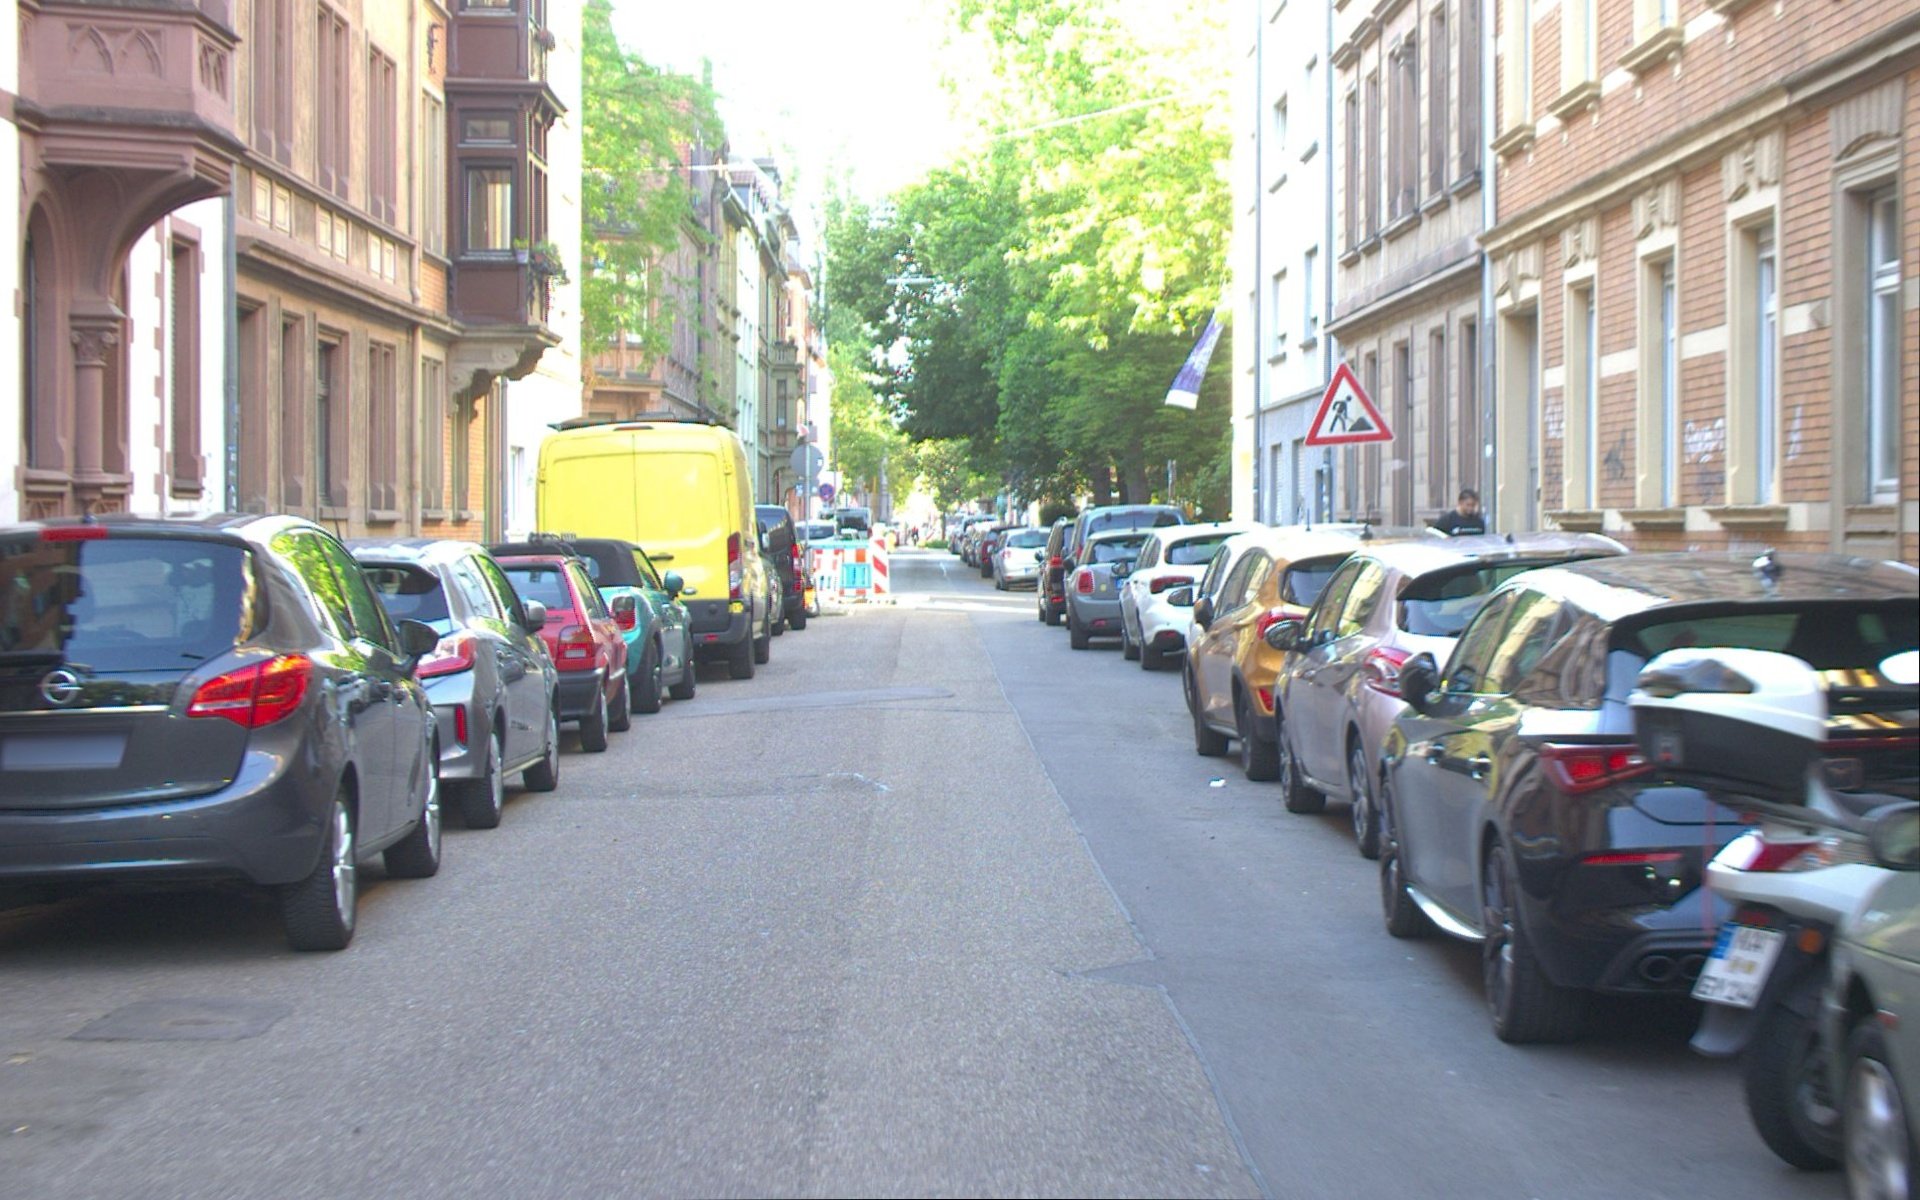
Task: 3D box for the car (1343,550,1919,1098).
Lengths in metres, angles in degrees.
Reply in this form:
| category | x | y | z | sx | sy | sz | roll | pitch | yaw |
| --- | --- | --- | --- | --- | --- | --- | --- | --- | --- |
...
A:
| category | x | y | z | sx | sy | sz | roll | pitch | yaw |
| --- | --- | --- | --- | --- | --- | --- | --- | --- | --- |
| car | 2.401 | 0.570 | 11.379 | 1.777 | 1.392 | 4.317 | 0 | 2 | 0 |

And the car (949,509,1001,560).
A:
| category | x | y | z | sx | sy | sz | roll | pitch | yaw |
| --- | --- | --- | --- | --- | --- | --- | --- | --- | --- |
| car | 0.656 | -2.956 | 154.825 | 2.160 | 2.248 | 4.526 | 0 | 1 | -2 |

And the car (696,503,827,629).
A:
| category | x | y | z | sx | sy | sz | roll | pitch | yaw |
| --- | --- | --- | --- | --- | --- | --- | --- | --- | --- |
| car | -2.908 | -0.528 | 50.382 | 1.818 | 1.760 | 4.336 | 0 | 1 | -3 |

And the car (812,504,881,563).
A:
| category | x | y | z | sx | sy | sz | roll | pitch | yaw |
| --- | --- | --- | --- | --- | --- | --- | --- | --- | --- |
| car | -4.188 | -2.461 | 127.264 | 2.309 | 2.107 | 5.170 | 0 | 1 | 1 |

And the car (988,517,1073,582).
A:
| category | x | y | z | sx | sy | sz | roll | pitch | yaw |
| --- | --- | --- | --- | --- | --- | --- | --- | --- | --- |
| car | 1.679 | -1.244 | 83.122 | 1.723 | 1.517 | 4.001 | -1 | 2 | -3 |

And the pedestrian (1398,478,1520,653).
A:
| category | x | y | z | sx | sy | sz | roll | pitch | yaw |
| --- | --- | --- | --- | --- | --- | --- | --- | --- | --- |
| pedestrian | 4.761 | -0.329 | 32.830 | 0.654 | 1.625 | 0.880 | -3 | 1 | -42 |

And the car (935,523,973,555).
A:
| category | x | y | z | sx | sy | sz | roll | pitch | yaw |
| --- | --- | --- | --- | --- | --- | --- | --- | --- | --- |
| car | -0.346 | -3.408 | 192.568 | 1.993 | 1.722 | 4.000 | -1 | 1 | -1 |

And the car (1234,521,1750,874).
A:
| category | x | y | z | sx | sy | sz | roll | pitch | yaw |
| --- | --- | --- | --- | --- | --- | --- | --- | --- | --- |
| car | 2.535 | 0.386 | 17.351 | 1.725 | 1.412 | 4.094 | -5 | 2 | -2 |

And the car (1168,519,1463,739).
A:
| category | x | y | z | sx | sy | sz | roll | pitch | yaw |
| --- | --- | --- | --- | --- | --- | --- | --- | --- | --- |
| car | 2.714 | 0.159 | 27.068 | 1.720 | 1.475 | 4.083 | -4 | 1 | -1 |

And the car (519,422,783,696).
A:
| category | x | y | z | sx | sy | sz | roll | pitch | yaw |
| --- | --- | --- | --- | --- | --- | --- | --- | --- | --- |
| car | -3.084 | -0.466 | 35.575 | 2.175 | 2.499 | 5.879 | -3 | 1 | -1 |

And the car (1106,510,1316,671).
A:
| category | x | y | z | sx | sy | sz | roll | pitch | yaw |
| --- | --- | --- | --- | --- | --- | --- | --- | --- | --- |
| car | 2.681 | -0.160 | 37.704 | 1.754 | 1.513 | 4.444 | -5 | 2 | -1 |

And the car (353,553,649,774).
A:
| category | x | y | z | sx | sy | sz | roll | pitch | yaw |
| --- | --- | --- | --- | --- | --- | --- | --- | --- | --- |
| car | -3.171 | 0.391 | 24.325 | 1.618 | 1.322 | 3.613 | -3 | 1 | -1 |

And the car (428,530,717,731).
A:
| category | x | y | z | sx | sy | sz | roll | pitch | yaw |
| --- | --- | --- | --- | --- | --- | --- | --- | --- | --- |
| car | -3.180 | 0.202 | 28.913 | 1.718 | 1.408 | 3.897 | -5 | 1 | 3 |

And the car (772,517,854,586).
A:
| category | x | y | z | sx | sy | sz | roll | pitch | yaw |
| --- | --- | --- | --- | --- | --- | --- | --- | --- | --- |
| car | -3.793 | -1.260 | 89.295 | 1.882 | 1.701 | 4.000 | -2 | 1 | 0 |

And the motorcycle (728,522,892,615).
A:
| category | x | y | z | sx | sy | sz | roll | pitch | yaw |
| --- | --- | --- | --- | --- | --- | --- | --- | --- | --- |
| motorcycle | -2.424 | -0.526 | 55.618 | 2.512 | 1.477 | 0.904 | -1 | 1 | -27 |

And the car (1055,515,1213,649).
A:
| category | x | y | z | sx | sy | sz | roll | pitch | yaw |
| --- | --- | --- | --- | --- | --- | --- | --- | --- | --- |
| car | 2.154 | -0.265 | 43.591 | 1.754 | 1.448 | 4.288 | -5 | 2 | 1 |

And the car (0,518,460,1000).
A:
| category | x | y | z | sx | sy | sz | roll | pitch | yaw |
| --- | --- | --- | --- | --- | --- | --- | --- | --- | --- |
| car | -3.098 | 0.486 | 13.543 | 1.781 | 1.600 | 4.070 | 0 | 1 | -2 |

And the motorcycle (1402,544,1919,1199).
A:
| category | x | y | z | sx | sy | sz | roll | pitch | yaw |
| --- | --- | --- | --- | --- | --- | --- | --- | --- | --- |
| motorcycle | 2.287 | 0.665 | 8.419 | 2.218 | 1.531 | 0.890 | 1 | 2 | -26 |

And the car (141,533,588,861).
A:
| category | x | y | z | sx | sy | sz | roll | pitch | yaw |
| --- | --- | --- | --- | --- | --- | --- | --- | --- | --- |
| car | -3.106 | 0.434 | 18.662 | 1.694 | 1.469 | 3.919 | -3 | 2 | 0 |

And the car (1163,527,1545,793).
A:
| category | x | y | z | sx | sy | sz | roll | pitch | yaw |
| --- | --- | --- | --- | --- | --- | --- | --- | --- | --- |
| car | 2.422 | 0.304 | 22.096 | 1.753 | 1.441 | 4.070 | -4 | 1 | -2 |

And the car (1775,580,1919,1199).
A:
| category | x | y | z | sx | sy | sz | roll | pitch | yaw |
| --- | --- | --- | --- | --- | --- | --- | --- | --- | --- |
| car | 2.633 | 0.710 | 5.547 | 1.692 | 1.401 | 3.992 | -1 | 2 | 0 |

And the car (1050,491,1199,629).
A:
| category | x | y | z | sx | sy | sz | roll | pitch | yaw |
| --- | --- | --- | --- | --- | --- | --- | --- | --- | --- |
| car | 2.291 | -0.611 | 49.023 | 1.753 | 1.780 | 4.724 | -3 | 2 | -1 |

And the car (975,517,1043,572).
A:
| category | x | y | z | sx | sy | sz | roll | pitch | yaw |
| --- | --- | --- | --- | --- | --- | --- | --- | --- | --- |
| car | 1.461 | -1.685 | 104.403 | 1.894 | 1.619 | 4.000 | 0 | 1 | -1 |

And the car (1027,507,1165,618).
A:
| category | x | y | z | sx | sy | sz | roll | pitch | yaw |
| --- | --- | --- | --- | --- | --- | --- | --- | --- | --- |
| car | 2.077 | -0.598 | 53.695 | 1.900 | 1.634 | 4.391 | 0 | 1 | -1 |
